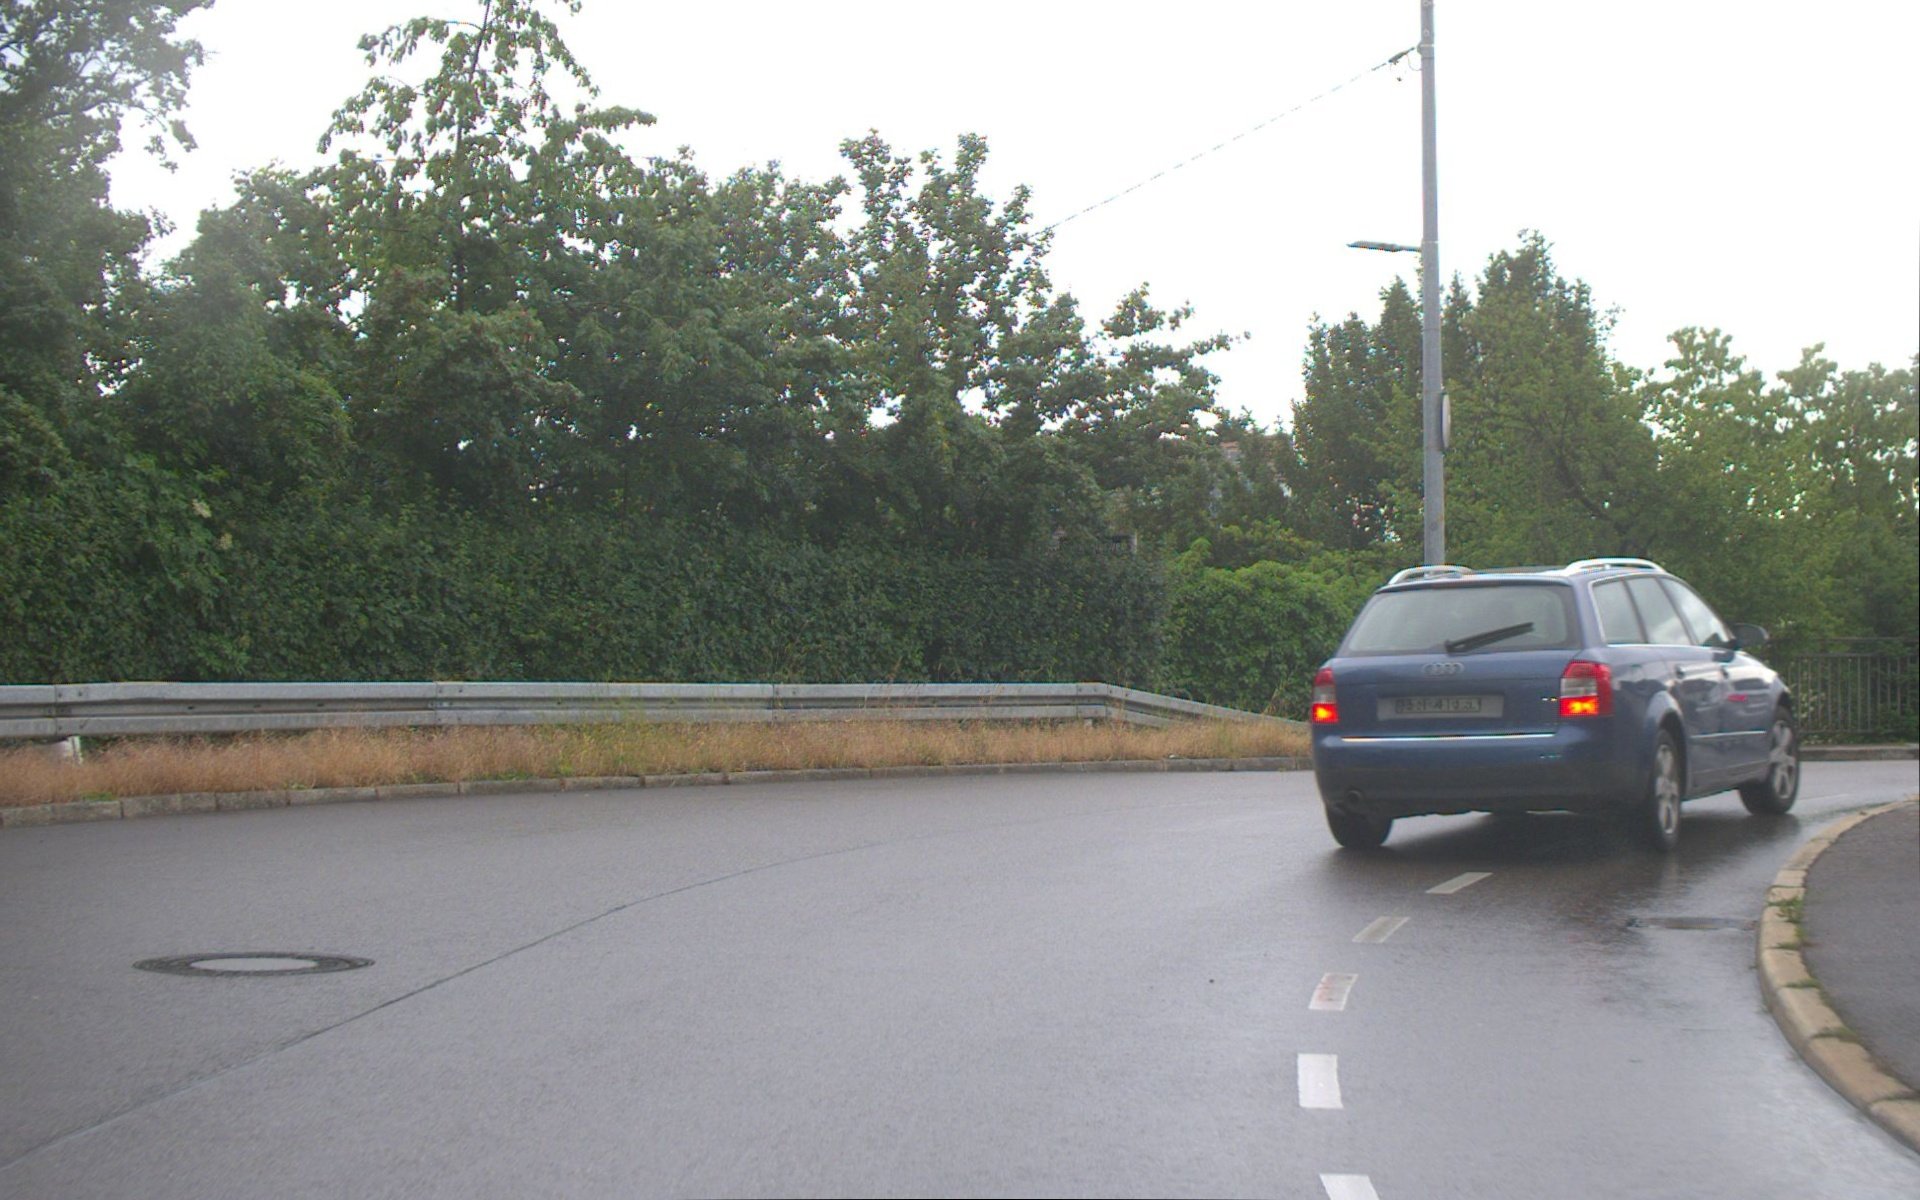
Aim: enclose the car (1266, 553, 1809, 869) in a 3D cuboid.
[{"bbox_3d":[3.167,0.506,18.184,1.749,1.403,3.995,-1,1,26],"label":"car"}]
